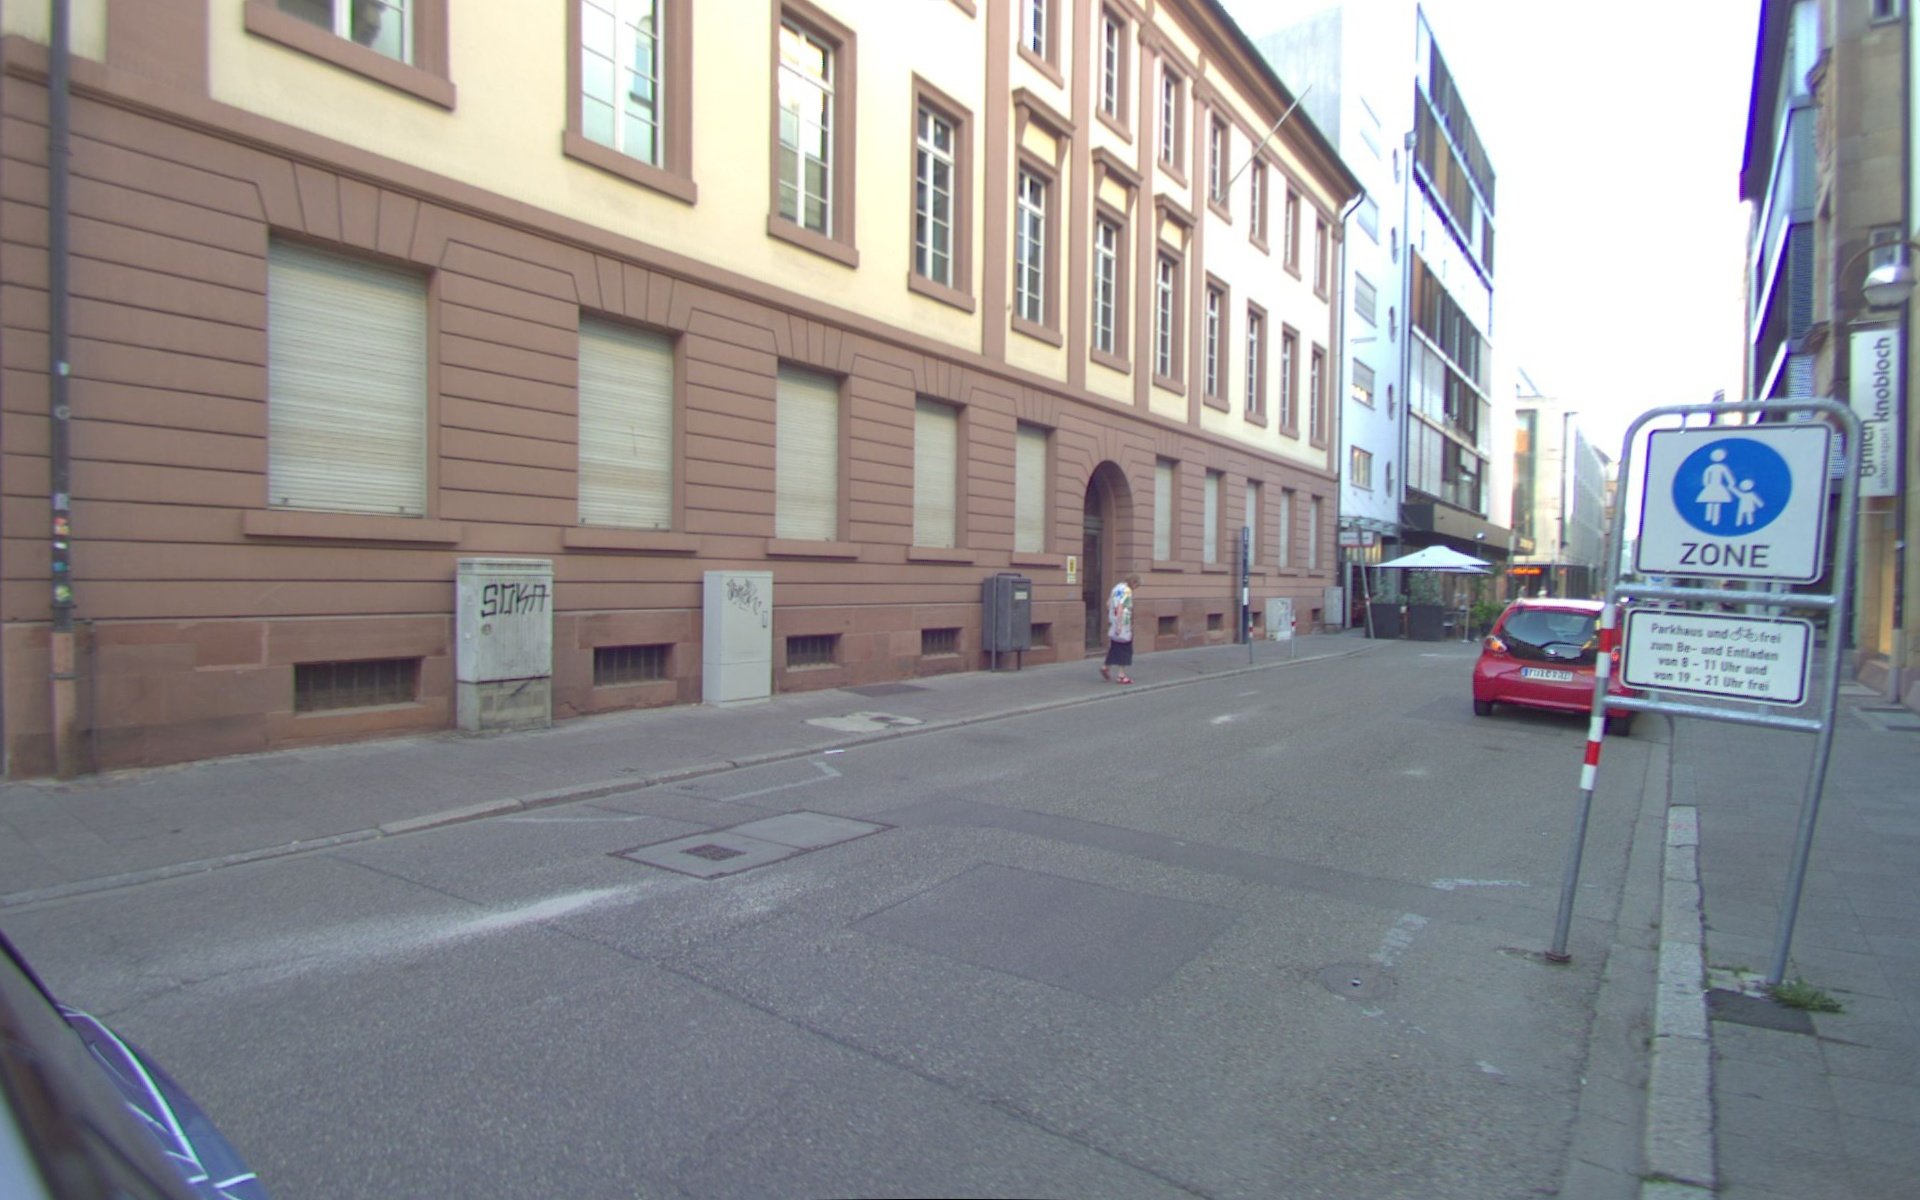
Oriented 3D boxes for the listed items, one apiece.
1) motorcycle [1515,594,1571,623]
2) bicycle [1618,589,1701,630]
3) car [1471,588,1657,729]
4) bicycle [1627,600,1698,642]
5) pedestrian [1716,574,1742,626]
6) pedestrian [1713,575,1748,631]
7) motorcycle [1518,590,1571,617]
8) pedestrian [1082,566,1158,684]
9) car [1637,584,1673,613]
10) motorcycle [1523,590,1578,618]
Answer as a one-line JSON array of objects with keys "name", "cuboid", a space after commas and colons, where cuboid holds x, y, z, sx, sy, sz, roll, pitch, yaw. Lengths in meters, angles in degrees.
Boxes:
[{"name": "motorcycle", "cuboid": [27.224, 0.380, 47.281, 2.192, 1.292, 0.643, 0, 1, 38]}, {"name": "bicycle", "cuboid": [20.588, 0.289, 29.810, 1.951, 1.139, 0.612, -2, -1, 38]}, {"name": "car", "cuboid": [7.531, 0.599, 12.508, 1.636, 1.452, 3.118, 3, 2, 36]}, {"name": "bicycle", "cuboid": [19.826, 0.600, 28.574, 1.606, 1.127, 0.612, -2, -1, 38]}, {"name": "pedestrian", "cuboid": [25.265, 0.005, 33.270, 0.670, 1.684, 0.754, 0, 0, 38]}, {"name": "pedestrian", "cuboid": [23.474, 0.092, 30.841, 0.810, 1.684, 0.920, 0, 0, 34]}, {"name": "motorcycle", "cuboid": [28.621, 0.172, 49.538, 2.192, 1.292, 0.643, 0, 1, 38]}, {"name": "pedestrian", "cuboid": [2.393, 0.349, 15.079, 0.810, 1.684, 0.920, 0, 0, 34]}, {"name": "car", "cuboid": [35.585, -0.091, 51.799, 1.424, 1.428, 3.848, -2, -1, 35]}, {"name": "motorcycle", "cuboid": [27.945, 0.180, 47.918, 2.192, 1.292, 0.643, 0, 1, 38]}]
